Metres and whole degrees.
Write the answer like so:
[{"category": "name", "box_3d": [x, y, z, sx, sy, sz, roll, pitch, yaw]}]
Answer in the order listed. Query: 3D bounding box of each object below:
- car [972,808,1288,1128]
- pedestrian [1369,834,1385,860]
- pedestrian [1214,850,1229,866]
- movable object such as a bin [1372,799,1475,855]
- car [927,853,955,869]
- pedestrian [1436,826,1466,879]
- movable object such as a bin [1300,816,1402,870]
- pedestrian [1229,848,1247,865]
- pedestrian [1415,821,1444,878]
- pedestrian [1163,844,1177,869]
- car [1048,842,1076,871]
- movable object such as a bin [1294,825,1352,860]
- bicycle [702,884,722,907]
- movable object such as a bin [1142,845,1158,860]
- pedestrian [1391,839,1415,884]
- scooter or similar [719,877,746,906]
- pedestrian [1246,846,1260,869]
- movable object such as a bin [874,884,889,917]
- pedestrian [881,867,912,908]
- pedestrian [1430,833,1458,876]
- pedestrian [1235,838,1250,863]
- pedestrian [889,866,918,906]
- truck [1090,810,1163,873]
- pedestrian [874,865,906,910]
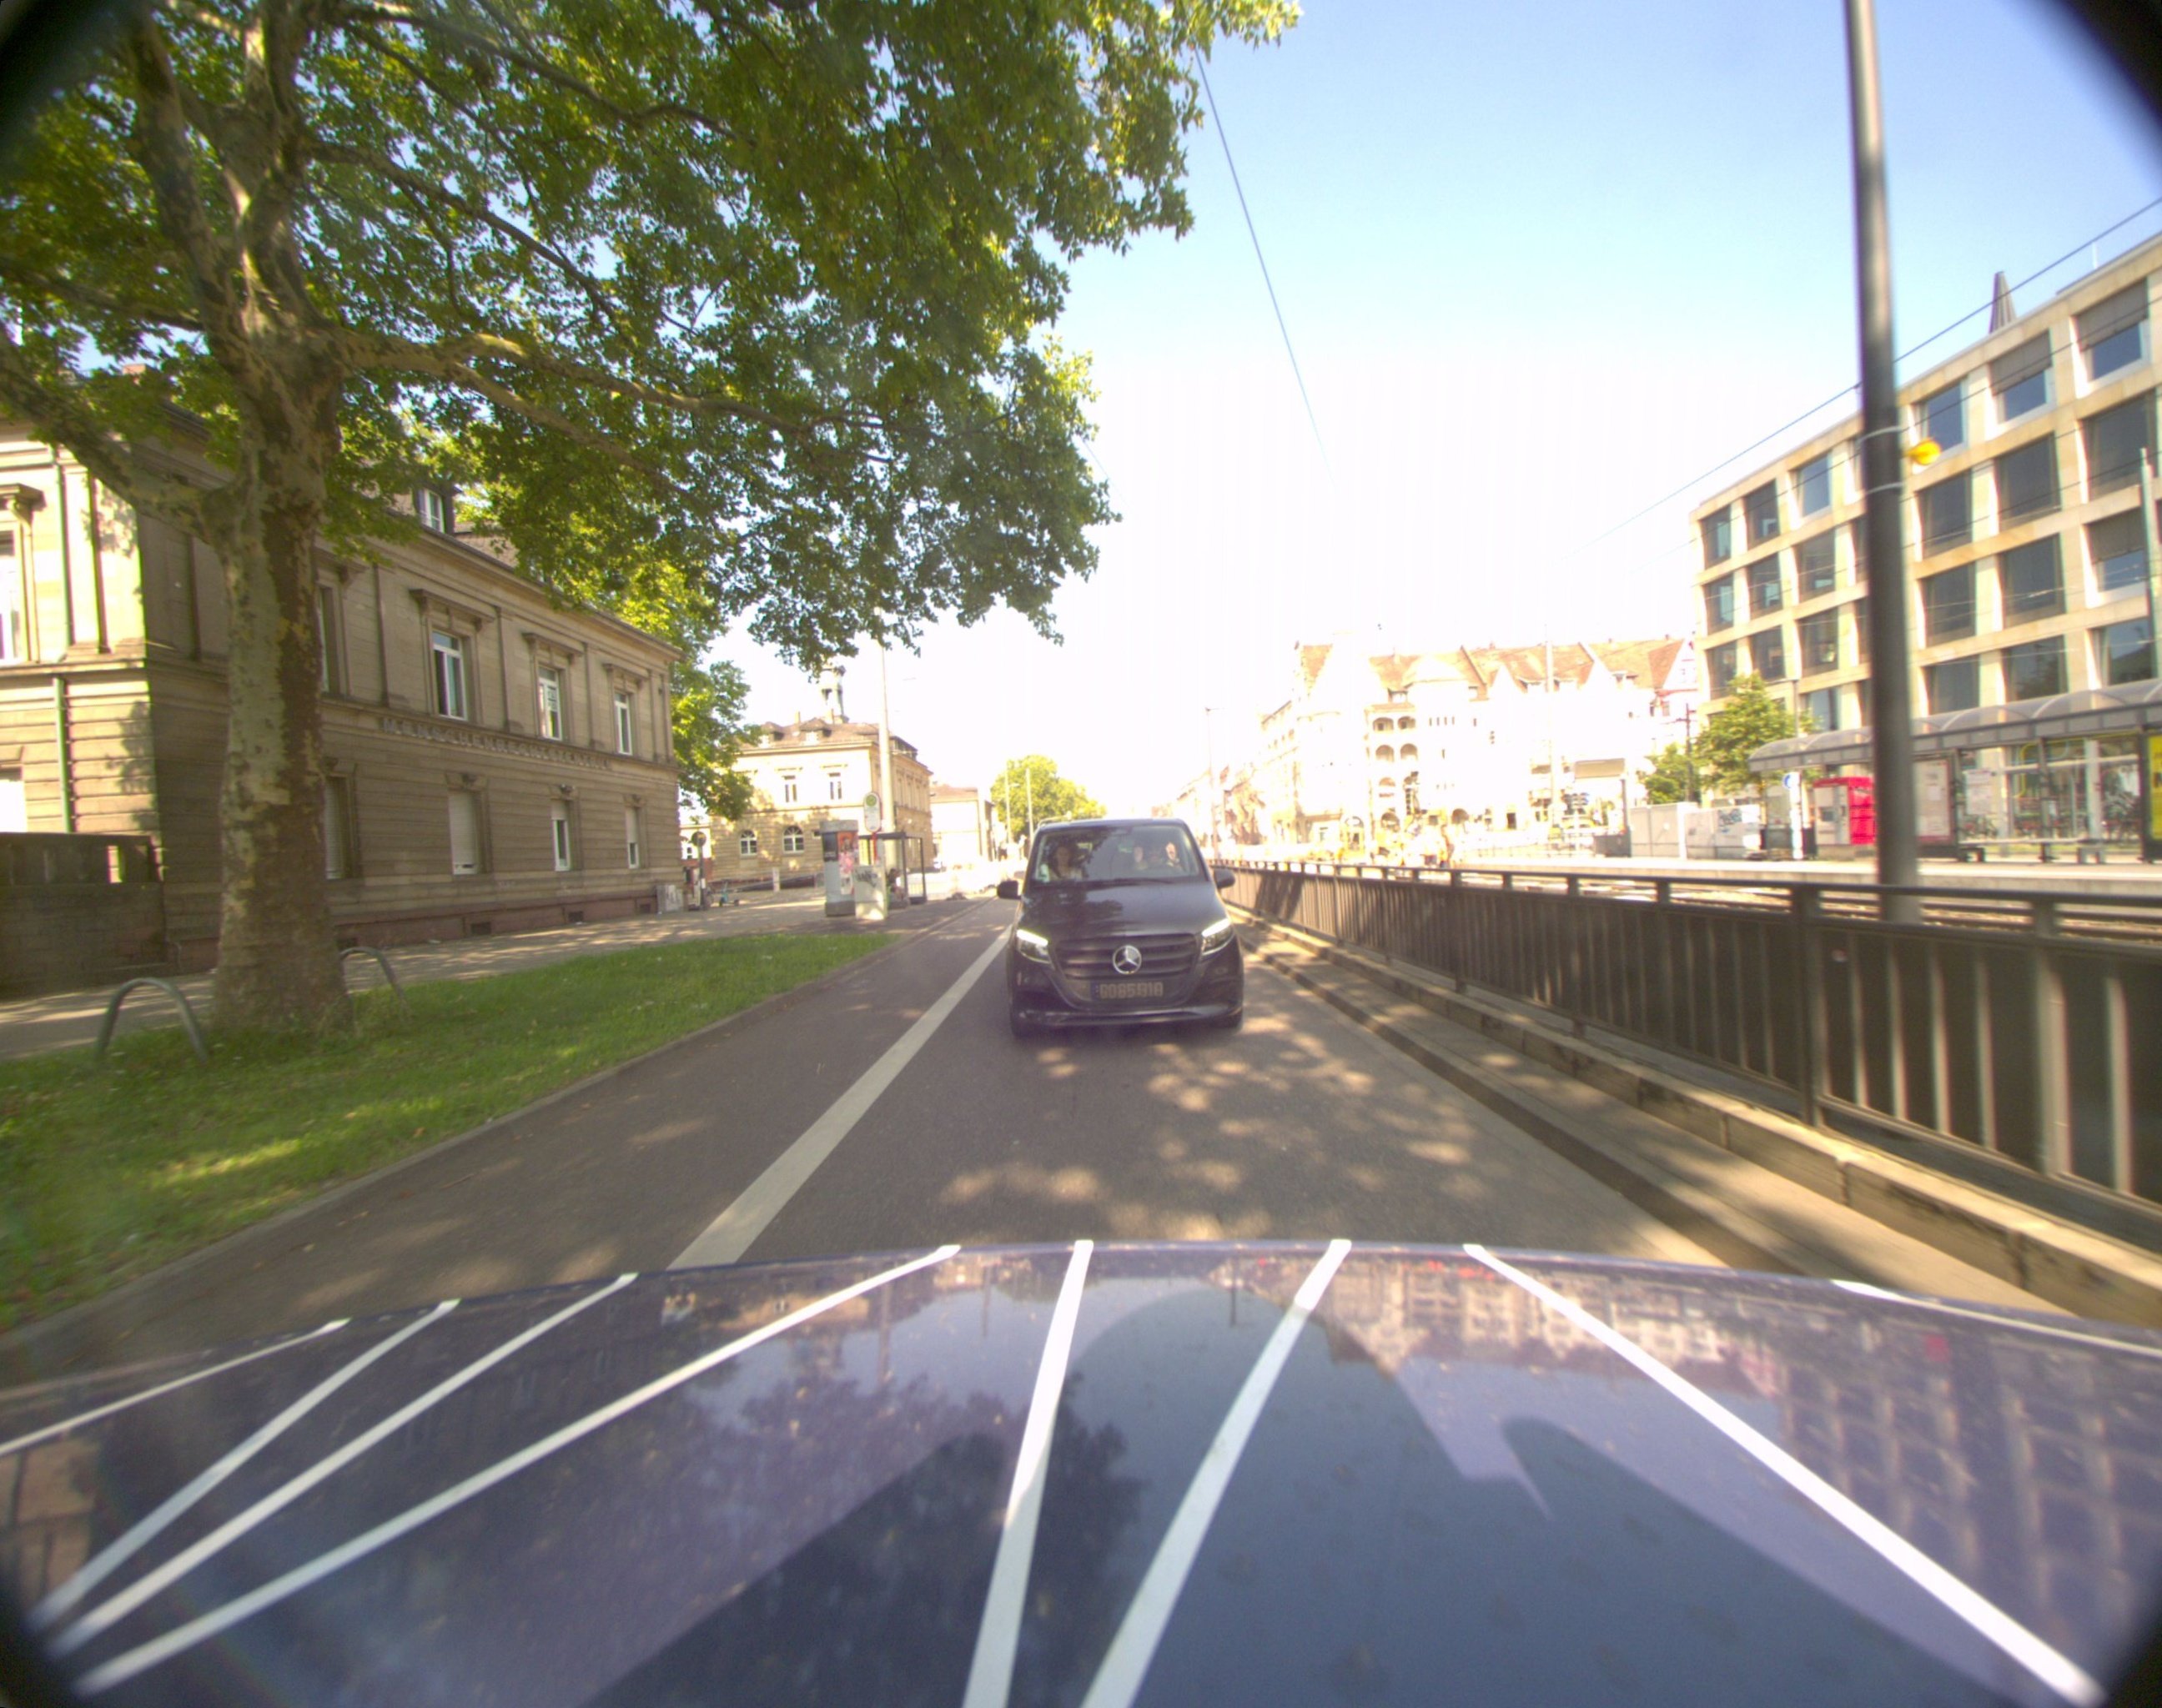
[{"category": "car", "box_3d": [0.282, 0.683, 6.968, 1.853, 1.875, 4.177, -6, 2, -1]}, {"category": "pedestrian", "box_3d": [20.517, -0.463, 52.605, 0.832, 1.739, 0.669, -3, 1, 31]}, {"category": "pedestrian", "box_3d": [8.628, 0.227, 46.532, 0.821, 0.920, 0.513, -3, 0, 14]}, {"category": "movable object such as a bin", "box_3d": [30.142, -2.384, 67.335, 7.368, 4.323, 4.973, -3, 2, 14]}, {"category": "car", "box_3d": [-17.540, 0.895, 95.376, 1.907, 1.772, 4.230, -3, -2, 11]}, {"category": "pedestrian", "box_3d": [13.053, -0.050, 26.827, 0.627, 1.805, 0.639, -3, 1, -31]}, {"category": "movable object such as a bin", "box_3d": [17.408, -0.765, 49.738, 3.622, 2.941, 8.474, -5, 1, 1]}, {"category": "pedestrian", "box_3d": [9.719, 0.153, 47.086, 0.513, 0.982, 0.932, -3, 0, -43]}, {"category": "pedestrian", "box_3d": [12.105, -0.157, 26.390, 0.724, 1.939, 0.789, -3, 0, 16]}, {"category": "pedestrian", "box_3d": [5.867, 0.151, 49.946, 0.762, 1.557, 0.691, -3, 0, 0]}, {"category": "car", "box_3d": [-1.832, 0.161, 69.339, 2.213, 2.410, 7.196, -3, 1, -3]}, {"category": "movable object such as a bin", "box_3d": [21.560, -1.035, 67.696, 4.824, 2.818, 2.443, -4, 1, -36]}, {"category": "bicycle", "box_3d": [-16.891, 1.897, 34.806, 0.493, 0.993, 1.816, -3, -2, -18]}, {"category": "movable object such as a bin", "box_3d": [7.600, -0.203, 83.719, 1.604, 1.550, 3.286, -3, 1, 3]}, {"category": "pedestrian", "box_3d": [12.447, 0.288, 29.360, 0.667, 1.653, 0.773, -3, 1, 34]}, {"category": "scooter or similar", "box_3d": [-15.560, 1.657, 33.941, 0.426, 1.221, 1.174, -3, 0, 8]}, {"category": "pedestrian", "box_3d": [11.869, 0.254, 52.363, 0.702, 1.557, 0.556, -3, 0, -5]}, {"category": "movable object such as a bin", "box_3d": [-5.714, 1.325, 21.770, 0.272, 0.910, 0.386, -3, 1, -1]}, {"category": "pedestrian", "box_3d": [-6.121, 1.106, 25.242, 0.742, 1.254, 0.611, -5, 2, 1]}, {"category": "pedestrian", "box_3d": [13.395, 0.014, 28.047, 0.642, 1.545, 0.625, -3, 1, -25]}, {"category": "pedestrian", "box_3d": [10.281, -0.234, 48.290, 0.817, 1.557, 0.557, -3, 1, 19]}, {"category": "pedestrian", "box_3d": [-6.077, 1.084, 26.032, 0.742, 1.254, 0.611, -5, 2, 1]}, {"category": "truck", "box_3d": [3.009, -0.779, 53.452, 2.802, 3.890, 8.411, -5, 0, -11]}, {"category": "pedestrian", "box_3d": [-6.168, 1.078, 24.572, 0.752, 1.358, 0.611, -5, 2, 1]}]
